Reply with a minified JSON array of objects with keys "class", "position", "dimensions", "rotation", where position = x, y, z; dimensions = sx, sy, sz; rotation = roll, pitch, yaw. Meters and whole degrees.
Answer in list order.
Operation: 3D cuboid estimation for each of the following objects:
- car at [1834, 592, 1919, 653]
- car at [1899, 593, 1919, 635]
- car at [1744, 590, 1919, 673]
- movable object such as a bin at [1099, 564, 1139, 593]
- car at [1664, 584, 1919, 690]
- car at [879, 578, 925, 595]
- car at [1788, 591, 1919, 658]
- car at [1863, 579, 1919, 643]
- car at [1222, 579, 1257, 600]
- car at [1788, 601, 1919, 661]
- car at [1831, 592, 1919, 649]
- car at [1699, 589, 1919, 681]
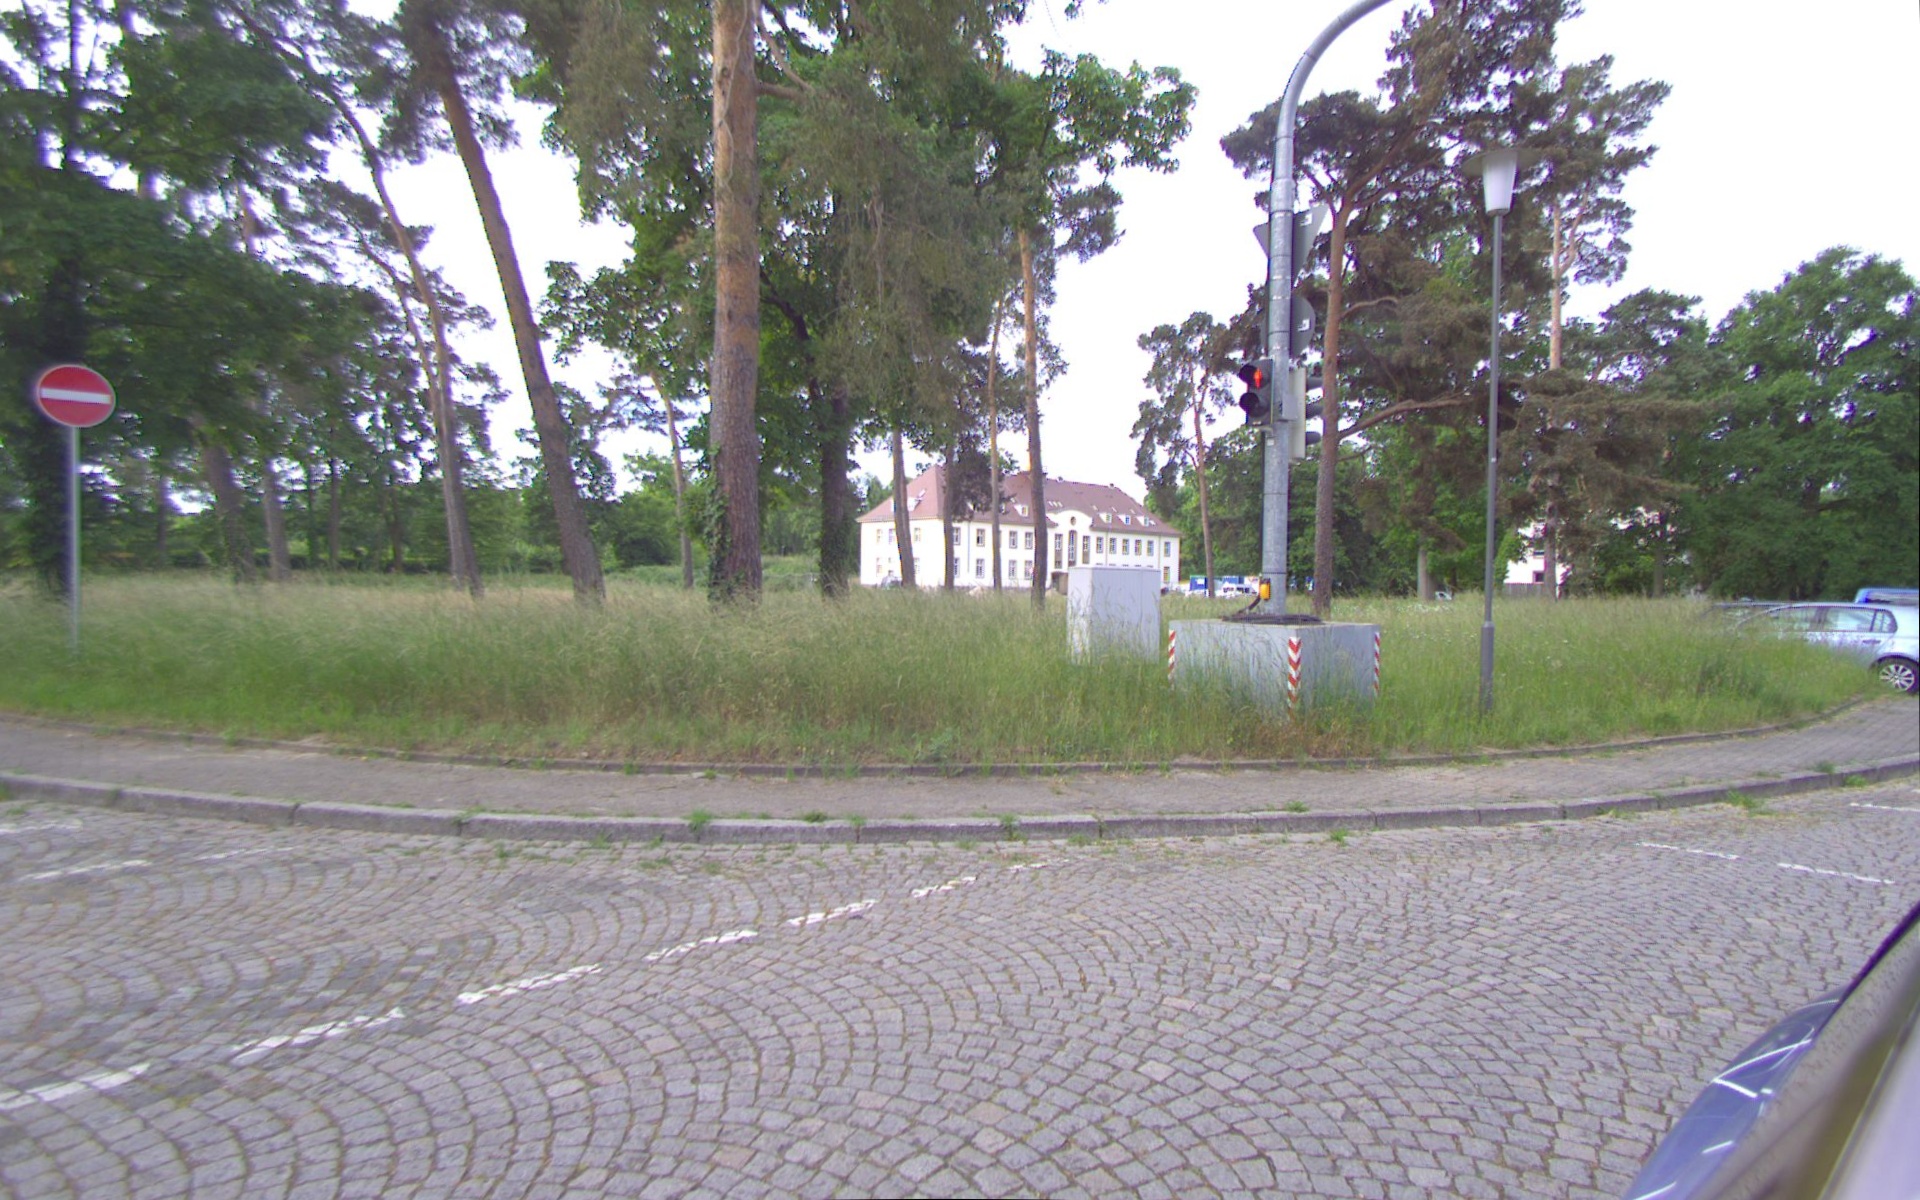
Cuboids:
[{"class":"car","position":[26.300,0.645,27.110],"dimensions":[1.669,1.535,4.099],"rotation":[1,2,-38]},{"class":"car","position":[38.759,0.634,38.605],"dimensions":[1.624,1.612,4.085],"rotation":[1,2,-38]},{"class":"car","position":[18.786,0.629,20.543],"dimensions":[1.686,1.492,4.249],"rotation":[1,2,-38]},{"class":"movable object such as a bin","position":[21.180,-2.830,134.922],"dimensions":[2.015,3.817,5.461],"rotation":[0,1,-37]},{"class":"car","position":[14.649,0.571,17.261],"dimensions":[1.669,1.446,4.009],"rotation":[0,4,-42]},{"class":"car","position":[-6.798,-1.595,118.904],"dimensions":[2.159,1.985,5.780],"rotation":[0,1,-45]},{"class":"car","position":[23.847,0.628,25.713],"dimensions":[1.571,1.535,4.052],"rotation":[1,2,-38]},{"class":"car","position":[32.372,0.423,32.619],"dimensions":[1.877,2.030,4.603],"rotation":[0,3,-38]},{"class":"car","position":[32.637,-1.266,118.024],"dimensions":[4.370,2.394,1.860],"rotation":[-1,1,-41]},{"class":"car","position":[22.131,0.742,23.681],"dimensions":[1.522,1.255,4.050],"rotation":[1,2,-40]},{"class":"car","position":[28.143,0.634,29.377],"dimensions":[1.571,1.535,4.052],"rotation":[1,2,-38]},{"class":"car","position":[16.694,0.634,18.841],"dimensions":[1.635,1.400,4.437],"rotation":[0,4,-42]}]
